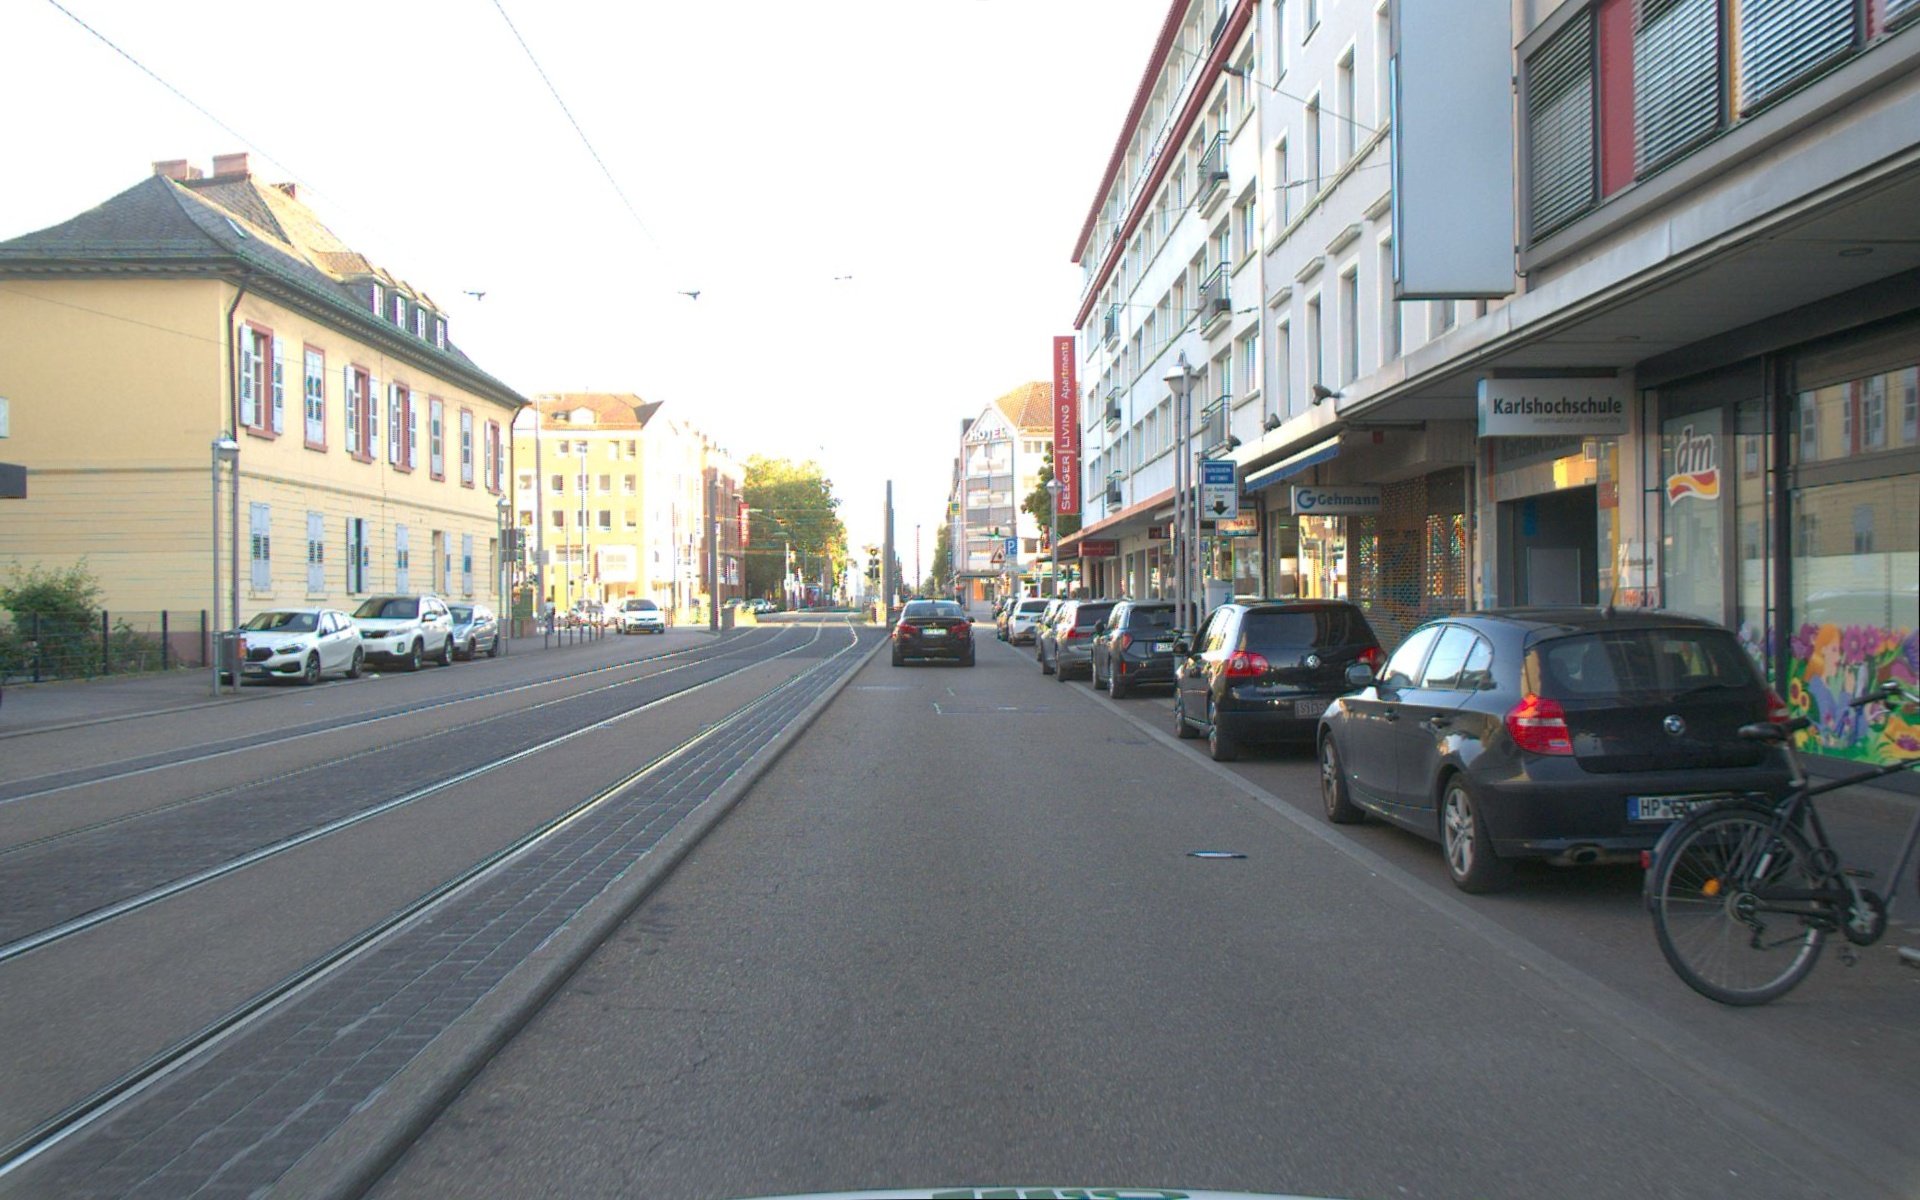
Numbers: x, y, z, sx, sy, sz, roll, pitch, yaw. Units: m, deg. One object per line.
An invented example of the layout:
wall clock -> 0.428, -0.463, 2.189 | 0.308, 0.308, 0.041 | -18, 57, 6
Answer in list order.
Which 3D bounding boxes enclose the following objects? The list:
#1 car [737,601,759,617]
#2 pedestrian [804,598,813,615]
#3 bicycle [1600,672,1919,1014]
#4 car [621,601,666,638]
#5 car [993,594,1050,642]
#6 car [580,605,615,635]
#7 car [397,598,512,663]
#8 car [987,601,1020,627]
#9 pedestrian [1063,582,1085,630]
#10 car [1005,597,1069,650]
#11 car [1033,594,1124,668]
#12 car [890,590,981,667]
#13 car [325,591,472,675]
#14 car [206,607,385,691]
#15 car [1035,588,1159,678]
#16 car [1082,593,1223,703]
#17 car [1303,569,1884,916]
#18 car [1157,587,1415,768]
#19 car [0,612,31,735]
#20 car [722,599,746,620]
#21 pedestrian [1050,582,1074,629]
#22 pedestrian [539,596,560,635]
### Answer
car -> -22.050, 0.885, 172.302 | 1.954, 1.612, 4.583 | -1, 0, -4
pedestrian -> -17.515, 0.757, 191.430 | 0.968, 2.049, 0.725 | 1, -1, -3
bicycle -> 3.493, 0.876, 6.289 | 1.848, 1.158, 0.676 | -1, 0, -4
car -> -13.966, 0.826, 72.875 | 1.775, 1.538, 4.020 | -1, 0, -14
car -> 2.097, 0.604, 57.736 | 1.700, 1.538, 4.685 | -2, 0, -1
car -> -19.884, 1.071, 90.906 | 1.704, 1.538, 4.024 | -1, 0, -11
car -> -13.719, 0.791, 45.135 | 1.775, 1.645, 4.215 | -1, 0, 1
car -> 2.757, 0.860, 105.811 | 1.953, 1.579, 3.999 | -1, 0, -1
pedestrian -> 4.271, 0.226, 62.046 | 0.714, 1.771, 0.863 | -2, 0, -1
car -> 2.405, 0.709, 52.449 | 1.749, 1.538, 4.051 | -2, 0, -1
car -> 2.678, 0.667, 38.212 | 1.700, 1.538, 4.302 | -2, 0, -1
car -> -0.573, 0.611, 37.857 | 1.953, 1.612, 3.999 | -1, 0, -1
car -> -13.260, 0.748, 39.343 | 1.775, 1.817, 4.499 | 2, 0, 2
car -> -13.341, 0.936, 33.487 | 1.775, 1.538, 4.432 | -1, 0, 1
car -> 2.544, 0.587, 31.779 | 1.754, 1.538, 4.709 | -2, 0, -2
car -> 2.942, 0.690, 26.051 | 1.651, 1.538, 4.034 | -2, 0, -1
car -> 3.376, 0.654, 9.783 | 1.708, 1.538, 4.257 | -2, 0, -1
car -> 3.130, 0.679, 16.696 | 1.685, 1.538, 4.166 | -2, 0, -1
car -> -12.941, 0.940, 19.489 | 1.651, 1.538, 4.214 | 0, 0, -1
car -> -22.146, 0.930, 161.929 | 1.954, 1.934, 4.808 | -1, 0, -4
pedestrian -> 3.885, 0.204, 63.107 | 0.810, 1.748, 0.843 | -2, 0, -1
pedestrian -> -17.158, 0.661, 69.132 | 0.717, 1.612, 0.954 | -1, 0, -6
